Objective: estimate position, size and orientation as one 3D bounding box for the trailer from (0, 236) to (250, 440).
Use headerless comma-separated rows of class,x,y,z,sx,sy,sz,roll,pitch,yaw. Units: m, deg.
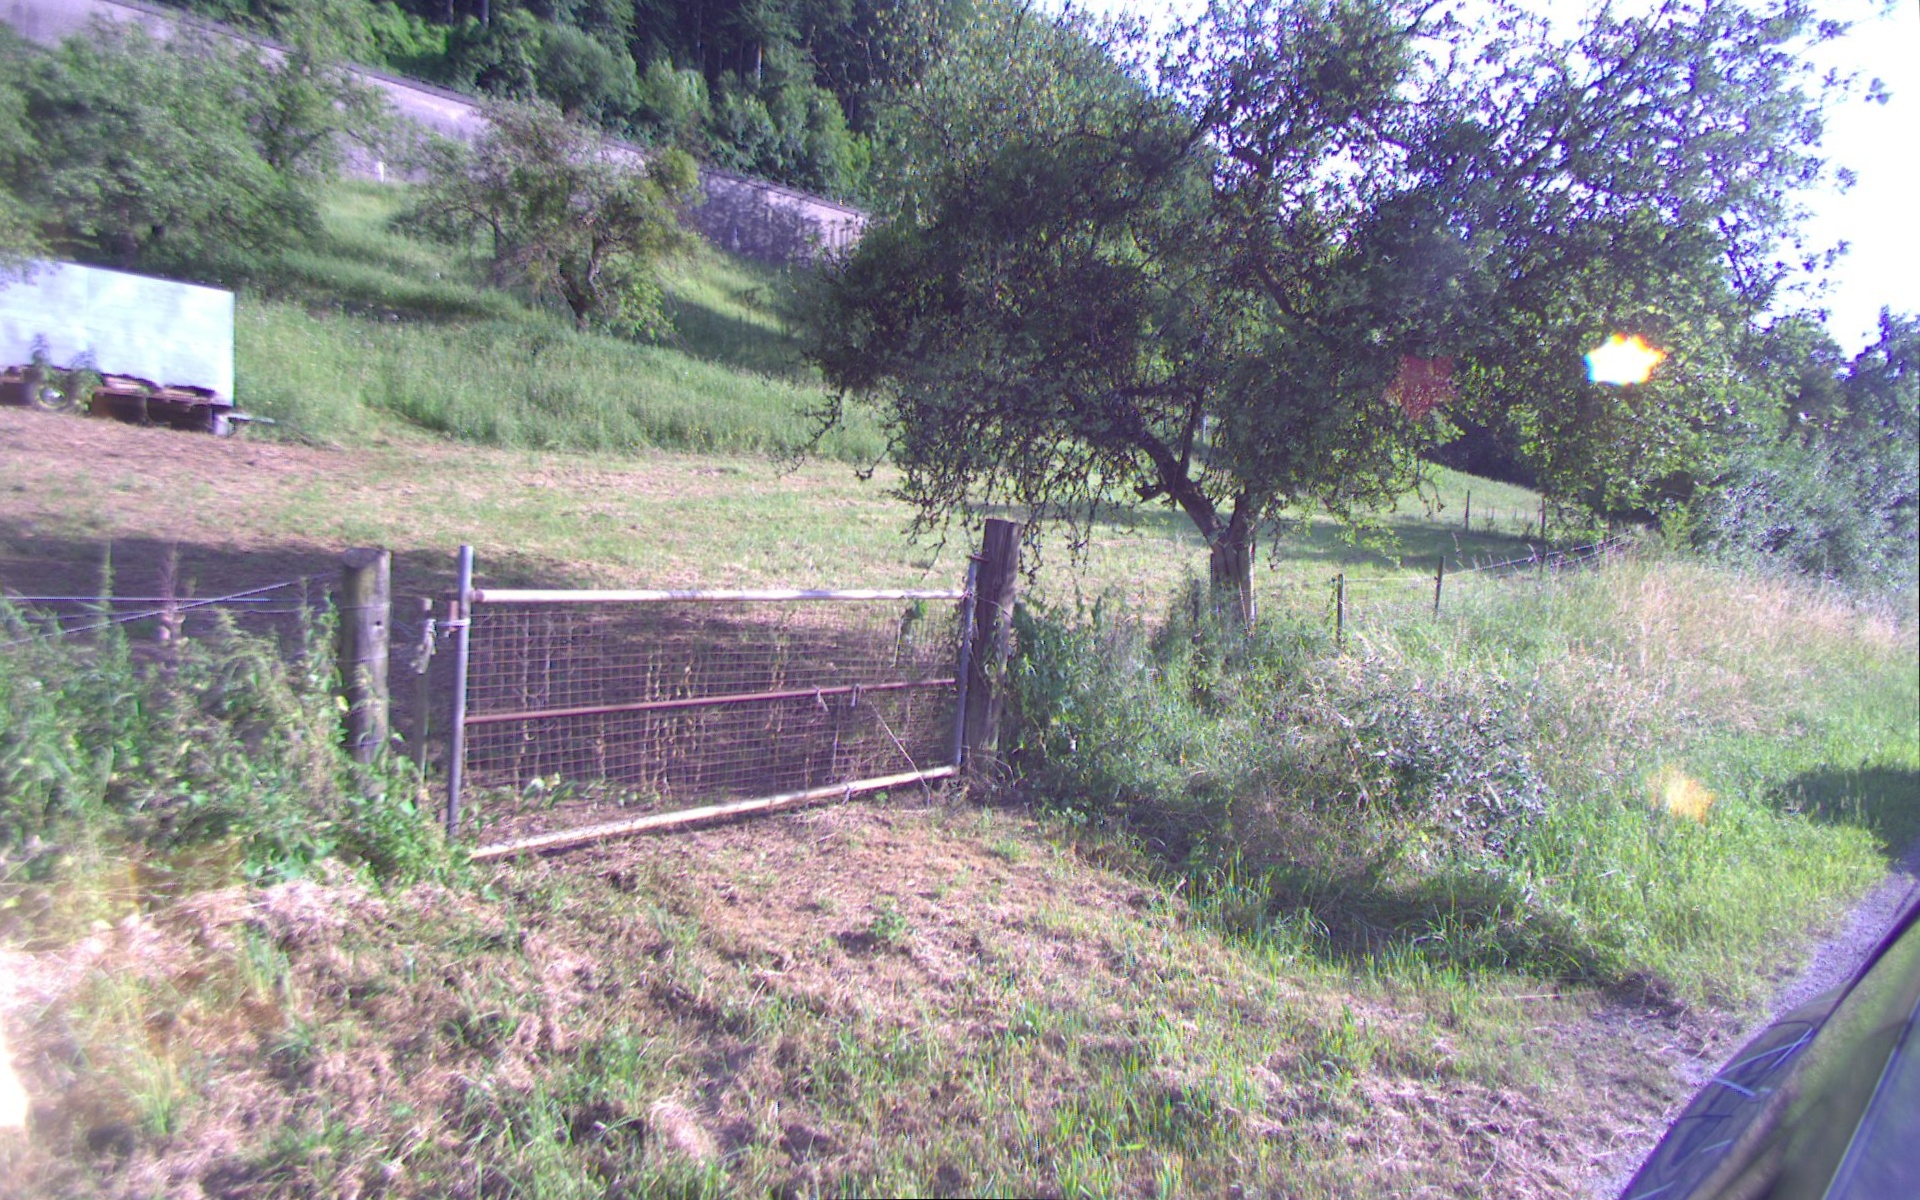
trailer,-15.453,-4.478,17.201,5.159,2.590,2.155,4,1,-44
